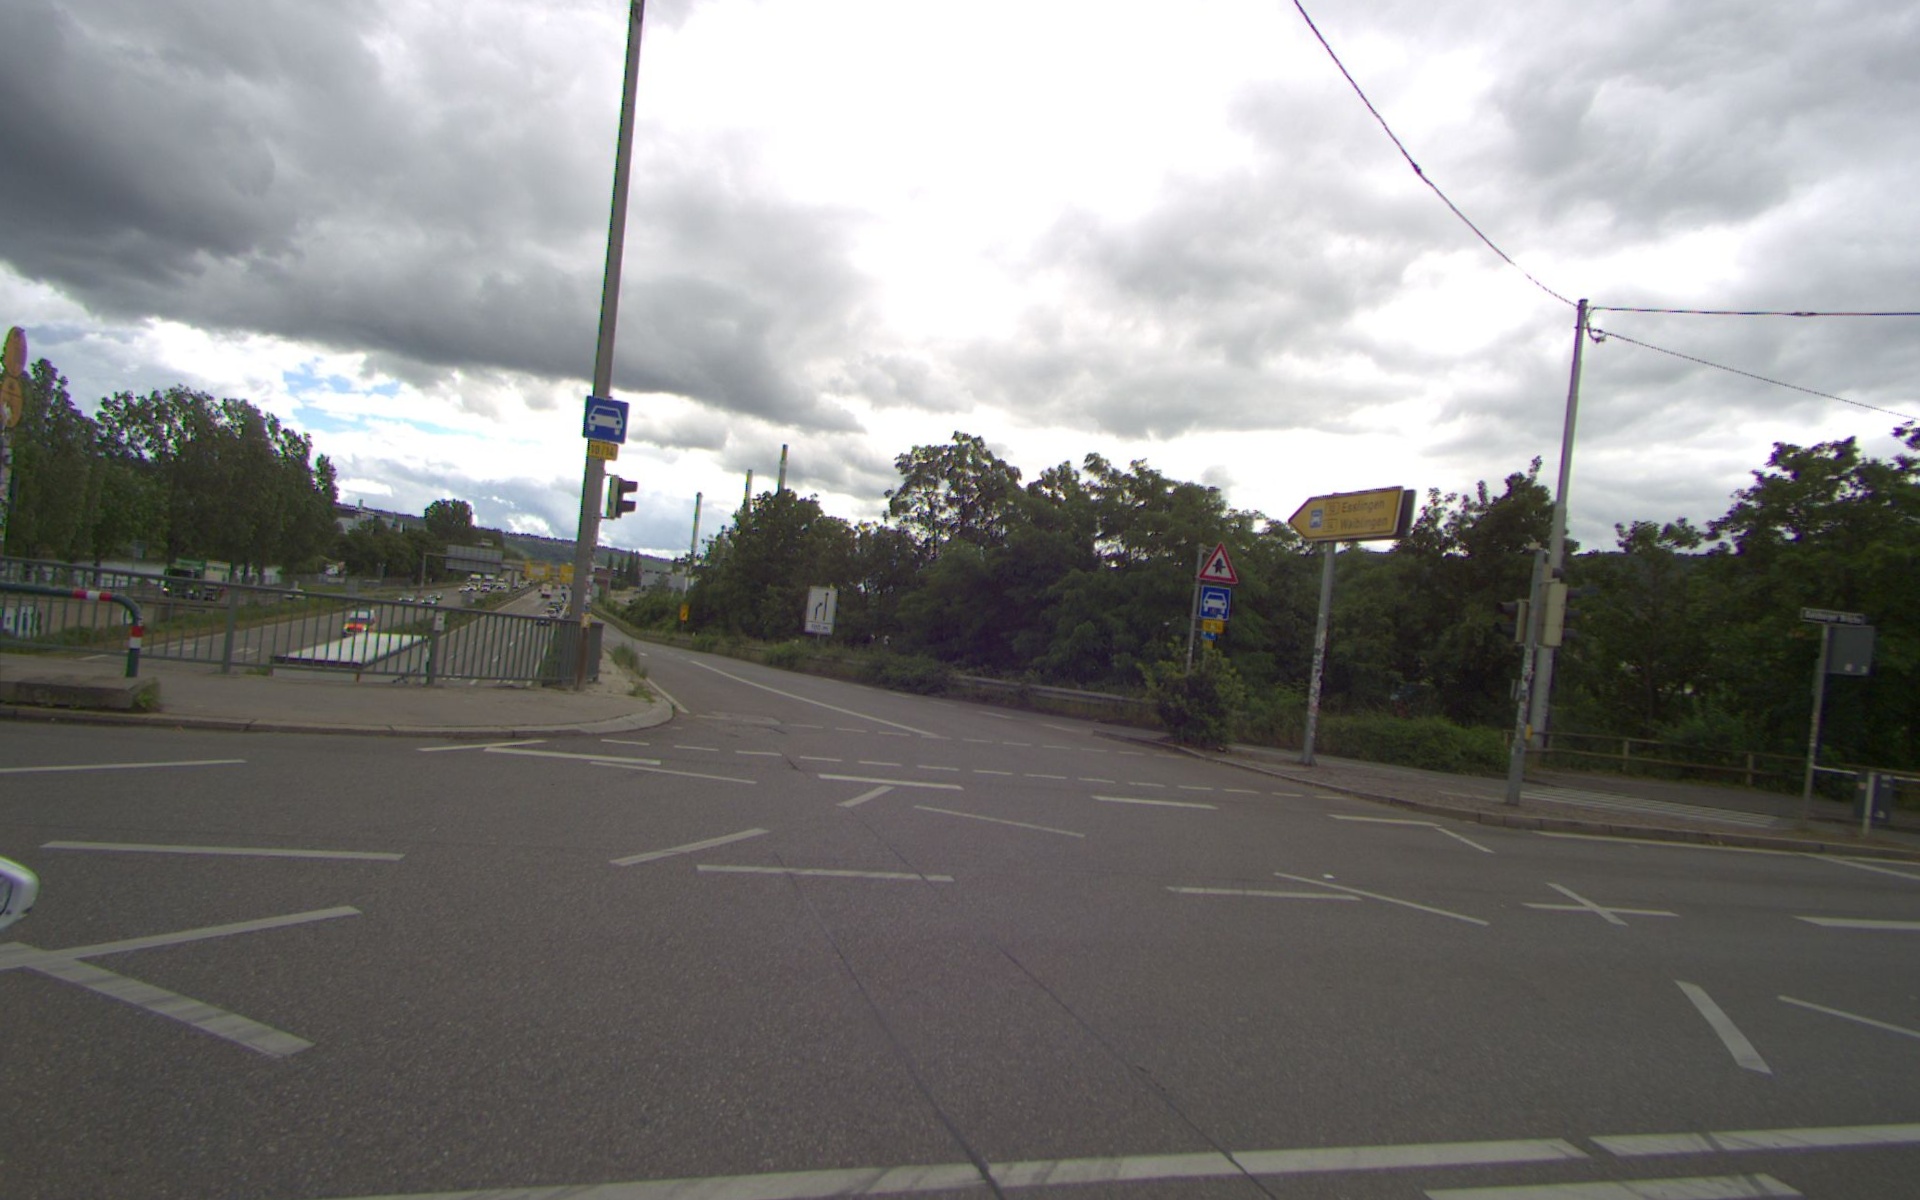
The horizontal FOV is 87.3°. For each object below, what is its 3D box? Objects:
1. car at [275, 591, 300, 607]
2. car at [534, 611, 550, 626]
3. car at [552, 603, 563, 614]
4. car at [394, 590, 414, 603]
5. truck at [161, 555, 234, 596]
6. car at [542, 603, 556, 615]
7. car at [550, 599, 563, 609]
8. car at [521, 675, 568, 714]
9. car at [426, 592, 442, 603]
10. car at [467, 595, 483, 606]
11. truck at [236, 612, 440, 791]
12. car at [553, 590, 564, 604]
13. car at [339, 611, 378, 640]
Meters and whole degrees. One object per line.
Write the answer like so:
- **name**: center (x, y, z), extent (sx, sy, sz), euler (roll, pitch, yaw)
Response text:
- **car**: center (-87.968, -0.169, 131.649), extent (1.974, 1.691, 3.747), euler (7, 1, -24)
- **car**: center (-57.563, 2.546, 138.517), extent (1.973, 1.757, 3.979), euler (5, -2, -23)
- **car**: center (-82.644, 1.661, 206.457), extent (1.973, 2.037, 3.981), euler (5, -2, -23)
- **car**: center (-83.397, -0.479, 151.007), extent (1.971, 1.726, 4.064), euler (5, -2, -21)
- **truck**: center (-75.632, -2.350, 99.986), extent (2.742, 3.551, 9.221), euler (7, -1, -19)
- **car**: center (-67.894, 1.492, 166.306), extent (1.973, 1.757, 3.978), euler (5, -2, -23)
- **car**: center (-75.696, 0.716, 188.676), extent (1.973, 1.757, 3.978), euler (5, -2, -23)
- **car**: center (-22.892, 5.184, 55.533), extent (1.970, 1.757, 3.985), euler (5, -2, -18)
- **car**: center (-95.602, -0.463, 182.951), extent (1.971, 1.726, 4.064), euler (5, -2, -21)
- **car**: center (-85.286, 0.100, 176.899), extent (1.971, 1.726, 4.064), euler (5, -2, -21)
- **truck**: center (-23.008, 3.376, 38.287), extent (3.538, 4.543, 13.113), euler (7, 1, -20)
- **car**: center (-88.251, -0.629, 221.104), extent (1.973, 2.653, 5.374), euler (5, -2, -23)
- **car**: center (-52.818, 2.223, 88.401), extent (1.971, 2.398, 4.572), euler (5, -2, -21)
